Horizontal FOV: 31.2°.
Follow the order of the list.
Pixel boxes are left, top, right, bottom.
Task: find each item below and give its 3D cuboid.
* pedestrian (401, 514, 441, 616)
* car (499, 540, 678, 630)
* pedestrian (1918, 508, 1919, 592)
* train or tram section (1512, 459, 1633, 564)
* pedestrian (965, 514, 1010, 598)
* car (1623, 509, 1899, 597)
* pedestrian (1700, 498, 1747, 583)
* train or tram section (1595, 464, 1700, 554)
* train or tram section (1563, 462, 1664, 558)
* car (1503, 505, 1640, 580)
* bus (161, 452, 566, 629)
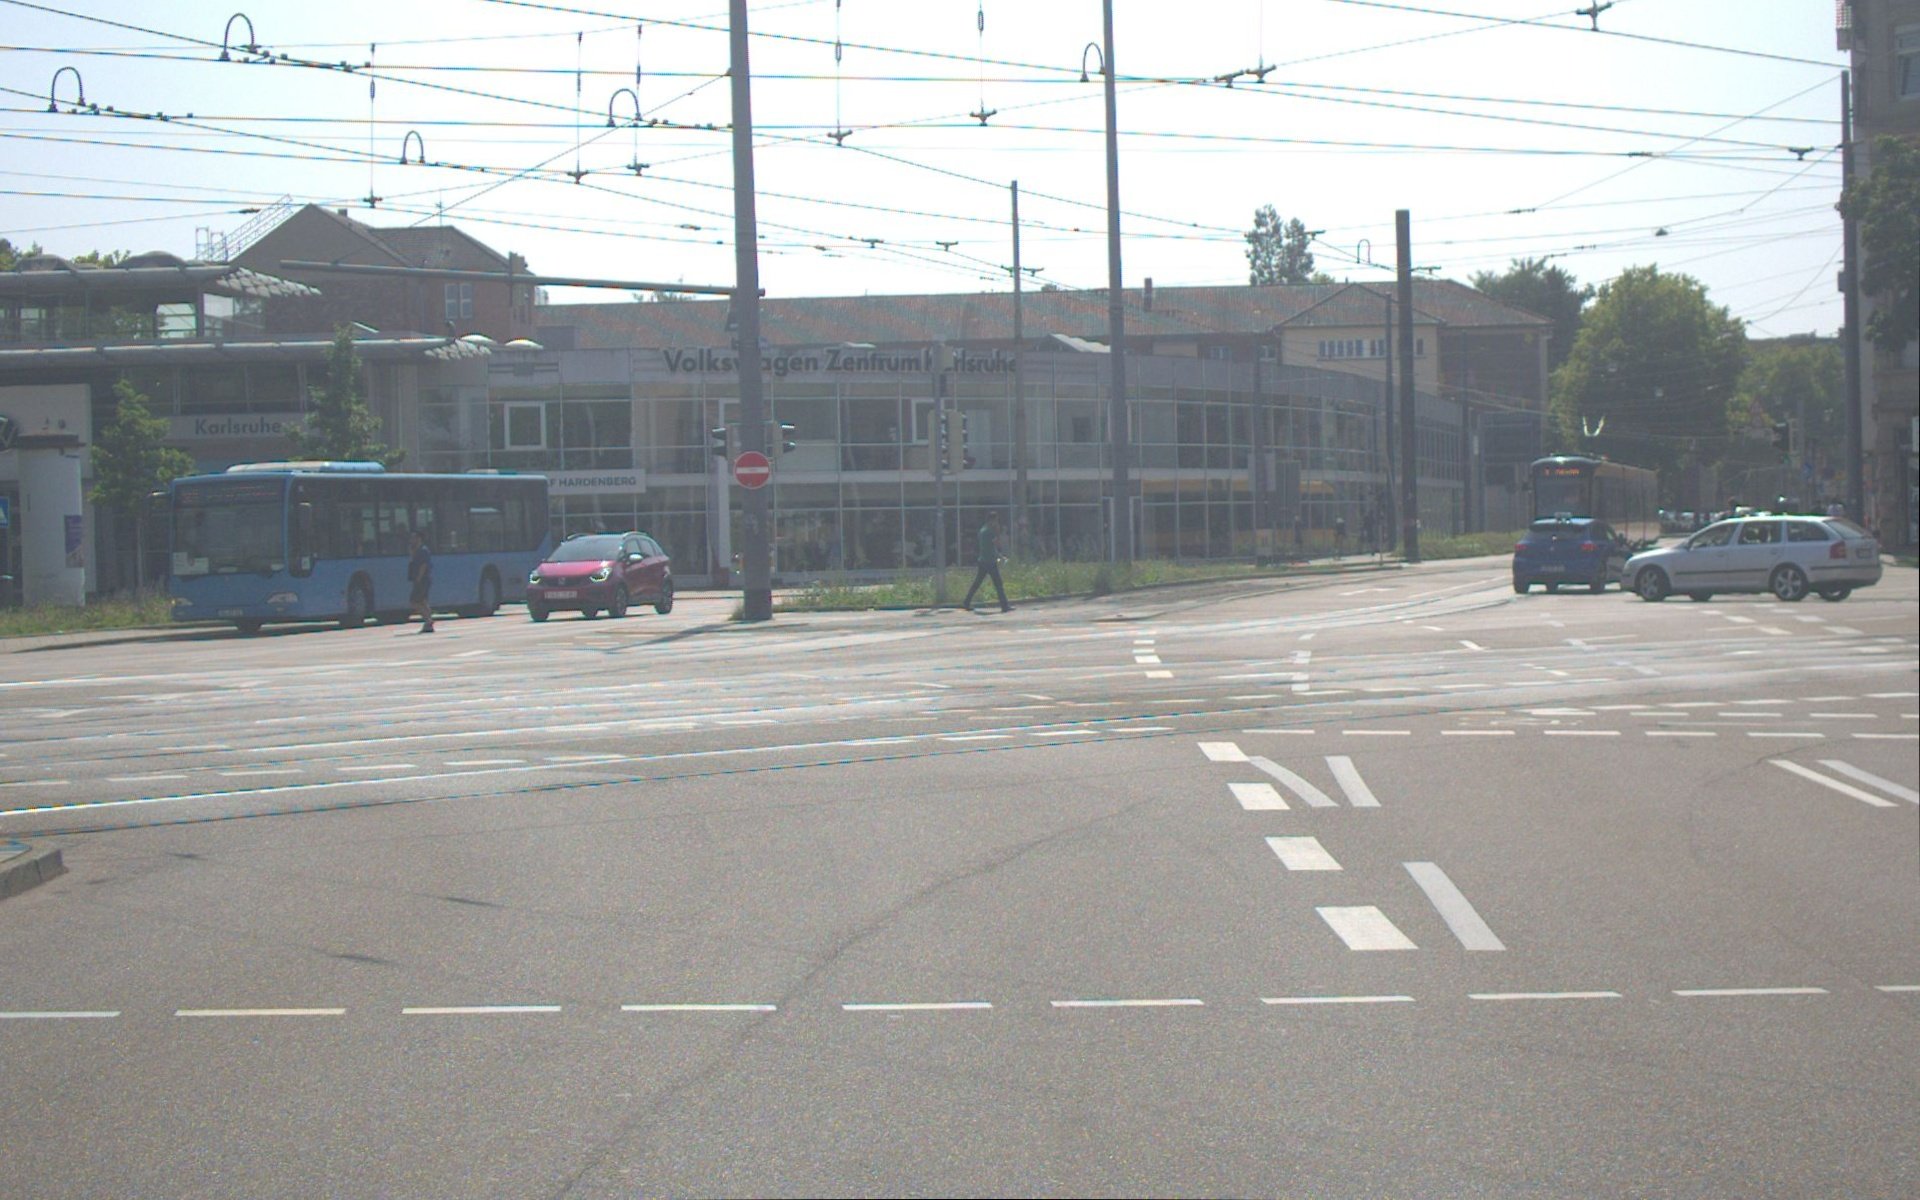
[{"bbox_3d":[-8.946,-0.583,57.084,0.552,1.678,0.454,-1,1,-18],"label":"pedestrian"},{"bbox_3d":[-6.801,-0.297,63.349,1.751,1.546,3.997,-1,1,18],"label":"car"},{"bbox_3d":[18.092,-0.929,63.051,0.850,1.539,0.529,-1,1,-8],"label":"pedestrian"},{"bbox_3d":[21.789,-3.115,121.765,2.590,3.504,10.889,-1,1,19],"label":"train or tram section"},{"bbox_3d":[0.472,-0.766,59.326,0.676,1.438,0.366,-1,1,-17],"label":"pedestrian"},{"bbox_3d":[13.556,-0.786,58.282,4.185,1.411,1.772,0,2,40],"label":"car"},{"bbox_3d":[14.459,-1.125,65.134,0.699,1.597,0.573,-1,1,-7],"label":"pedestrian"},{"bbox_3d":[28.561,-3.760,142.339,2.590,3.504,12.961,-1,1,19],"label":"train or tram section"},{"bbox_3d":[25.062,-3.428,131.514,2.590,3.504,9.651,-1,1,18],"label":"train or tram section"},{"bbox_3d":[11.942,-1.143,67.007,1.593,1.389,3.995,-1,1,26],"label":"car"},{"bbox_3d":[-11.231,-1.181,66.614,2.564,3.072,12.014,-1,1,17],"label":"bus"}]
